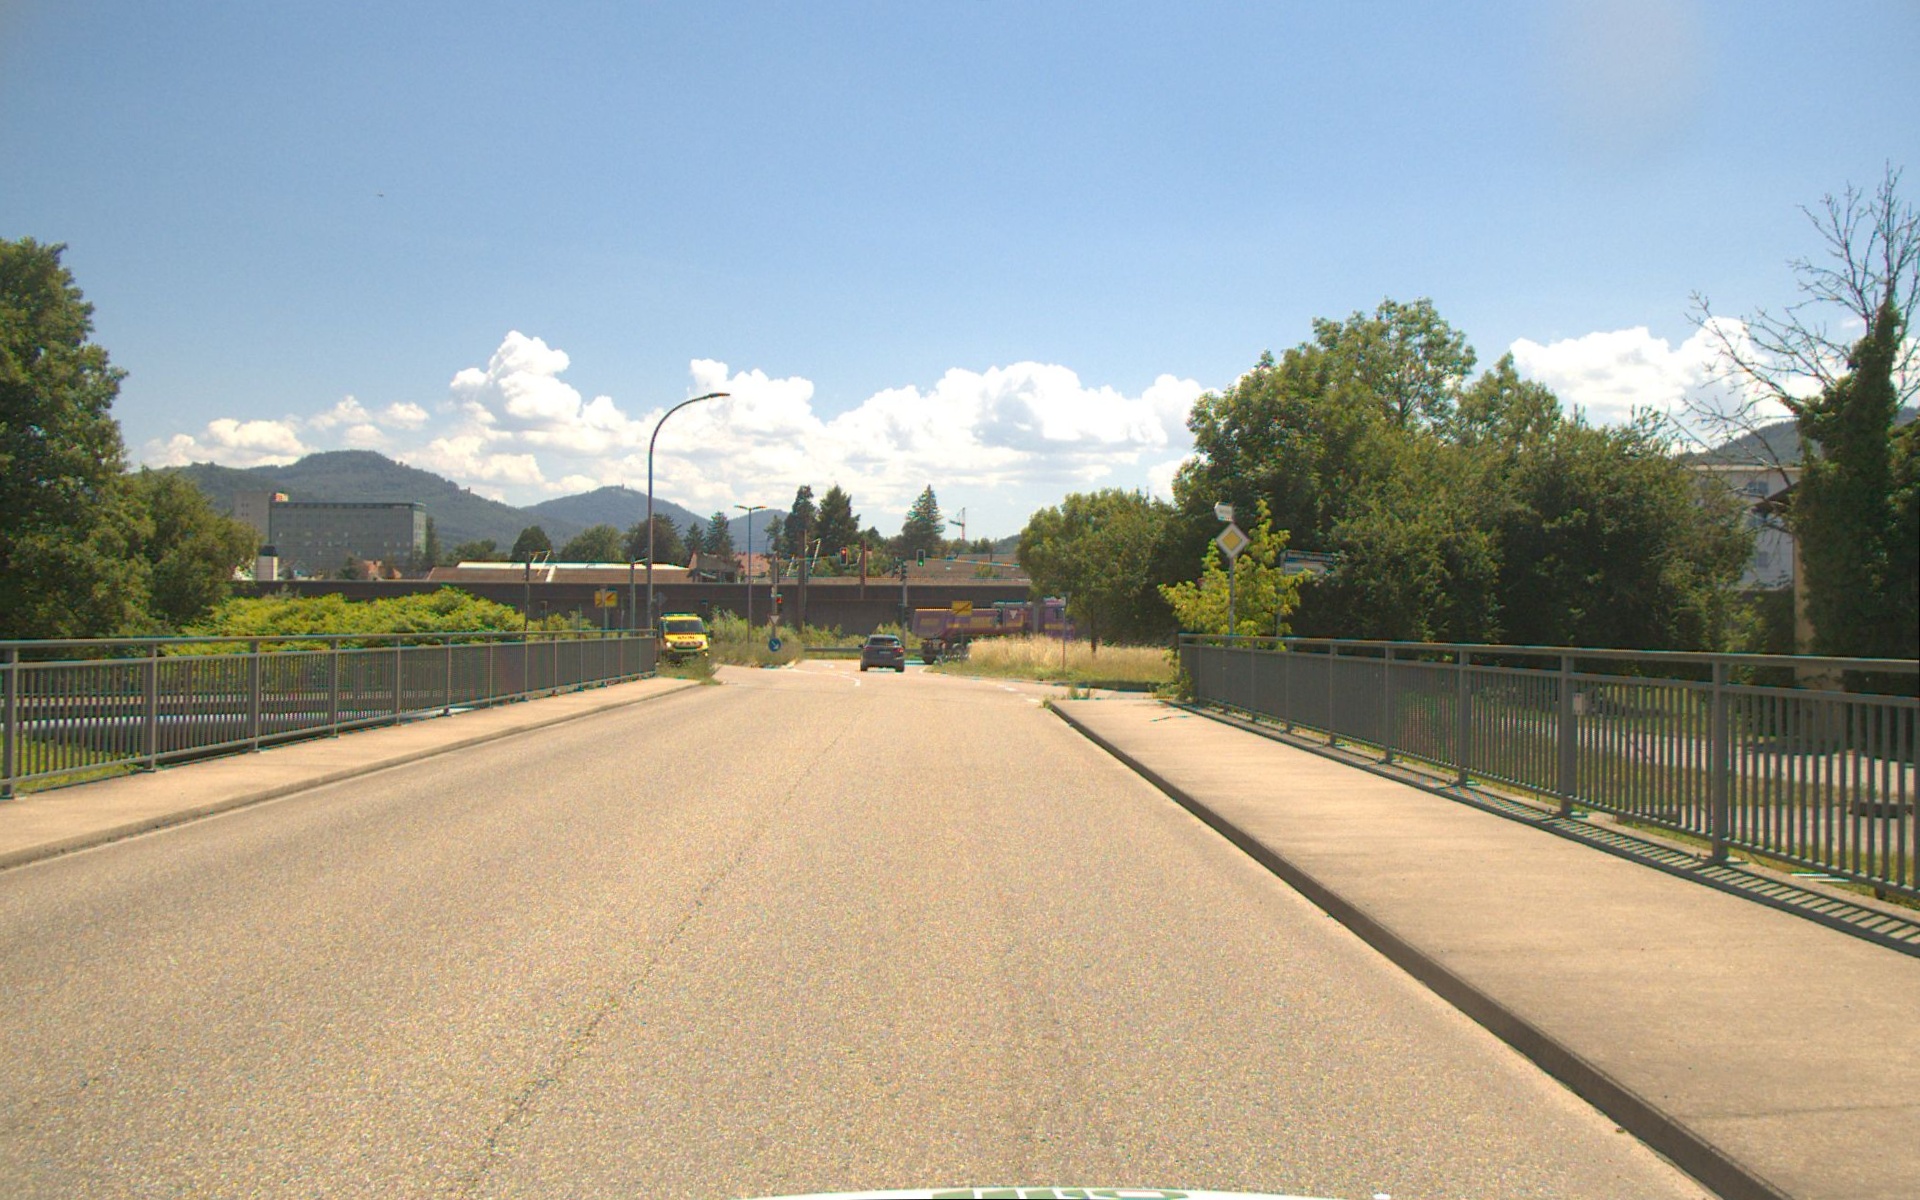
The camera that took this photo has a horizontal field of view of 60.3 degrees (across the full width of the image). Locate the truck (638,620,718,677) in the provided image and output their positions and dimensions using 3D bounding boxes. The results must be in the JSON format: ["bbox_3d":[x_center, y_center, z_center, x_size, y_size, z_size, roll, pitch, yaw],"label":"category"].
[{"bbox_3d":[-12.893,2.282,75.135,2.275,2.379,9.002,0,-3,-18],"label":"truck"}]

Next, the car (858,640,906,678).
[{"bbox_3d":[-3.383,2.535,71.143,1.954,1.529,3.996,2,-2,-4],"label":"car"}]

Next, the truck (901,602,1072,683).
[{"bbox_3d":[1.711,2.578,96.830,2.952,4.254,11.733,-1,-4,42],"label":"truck"}]
